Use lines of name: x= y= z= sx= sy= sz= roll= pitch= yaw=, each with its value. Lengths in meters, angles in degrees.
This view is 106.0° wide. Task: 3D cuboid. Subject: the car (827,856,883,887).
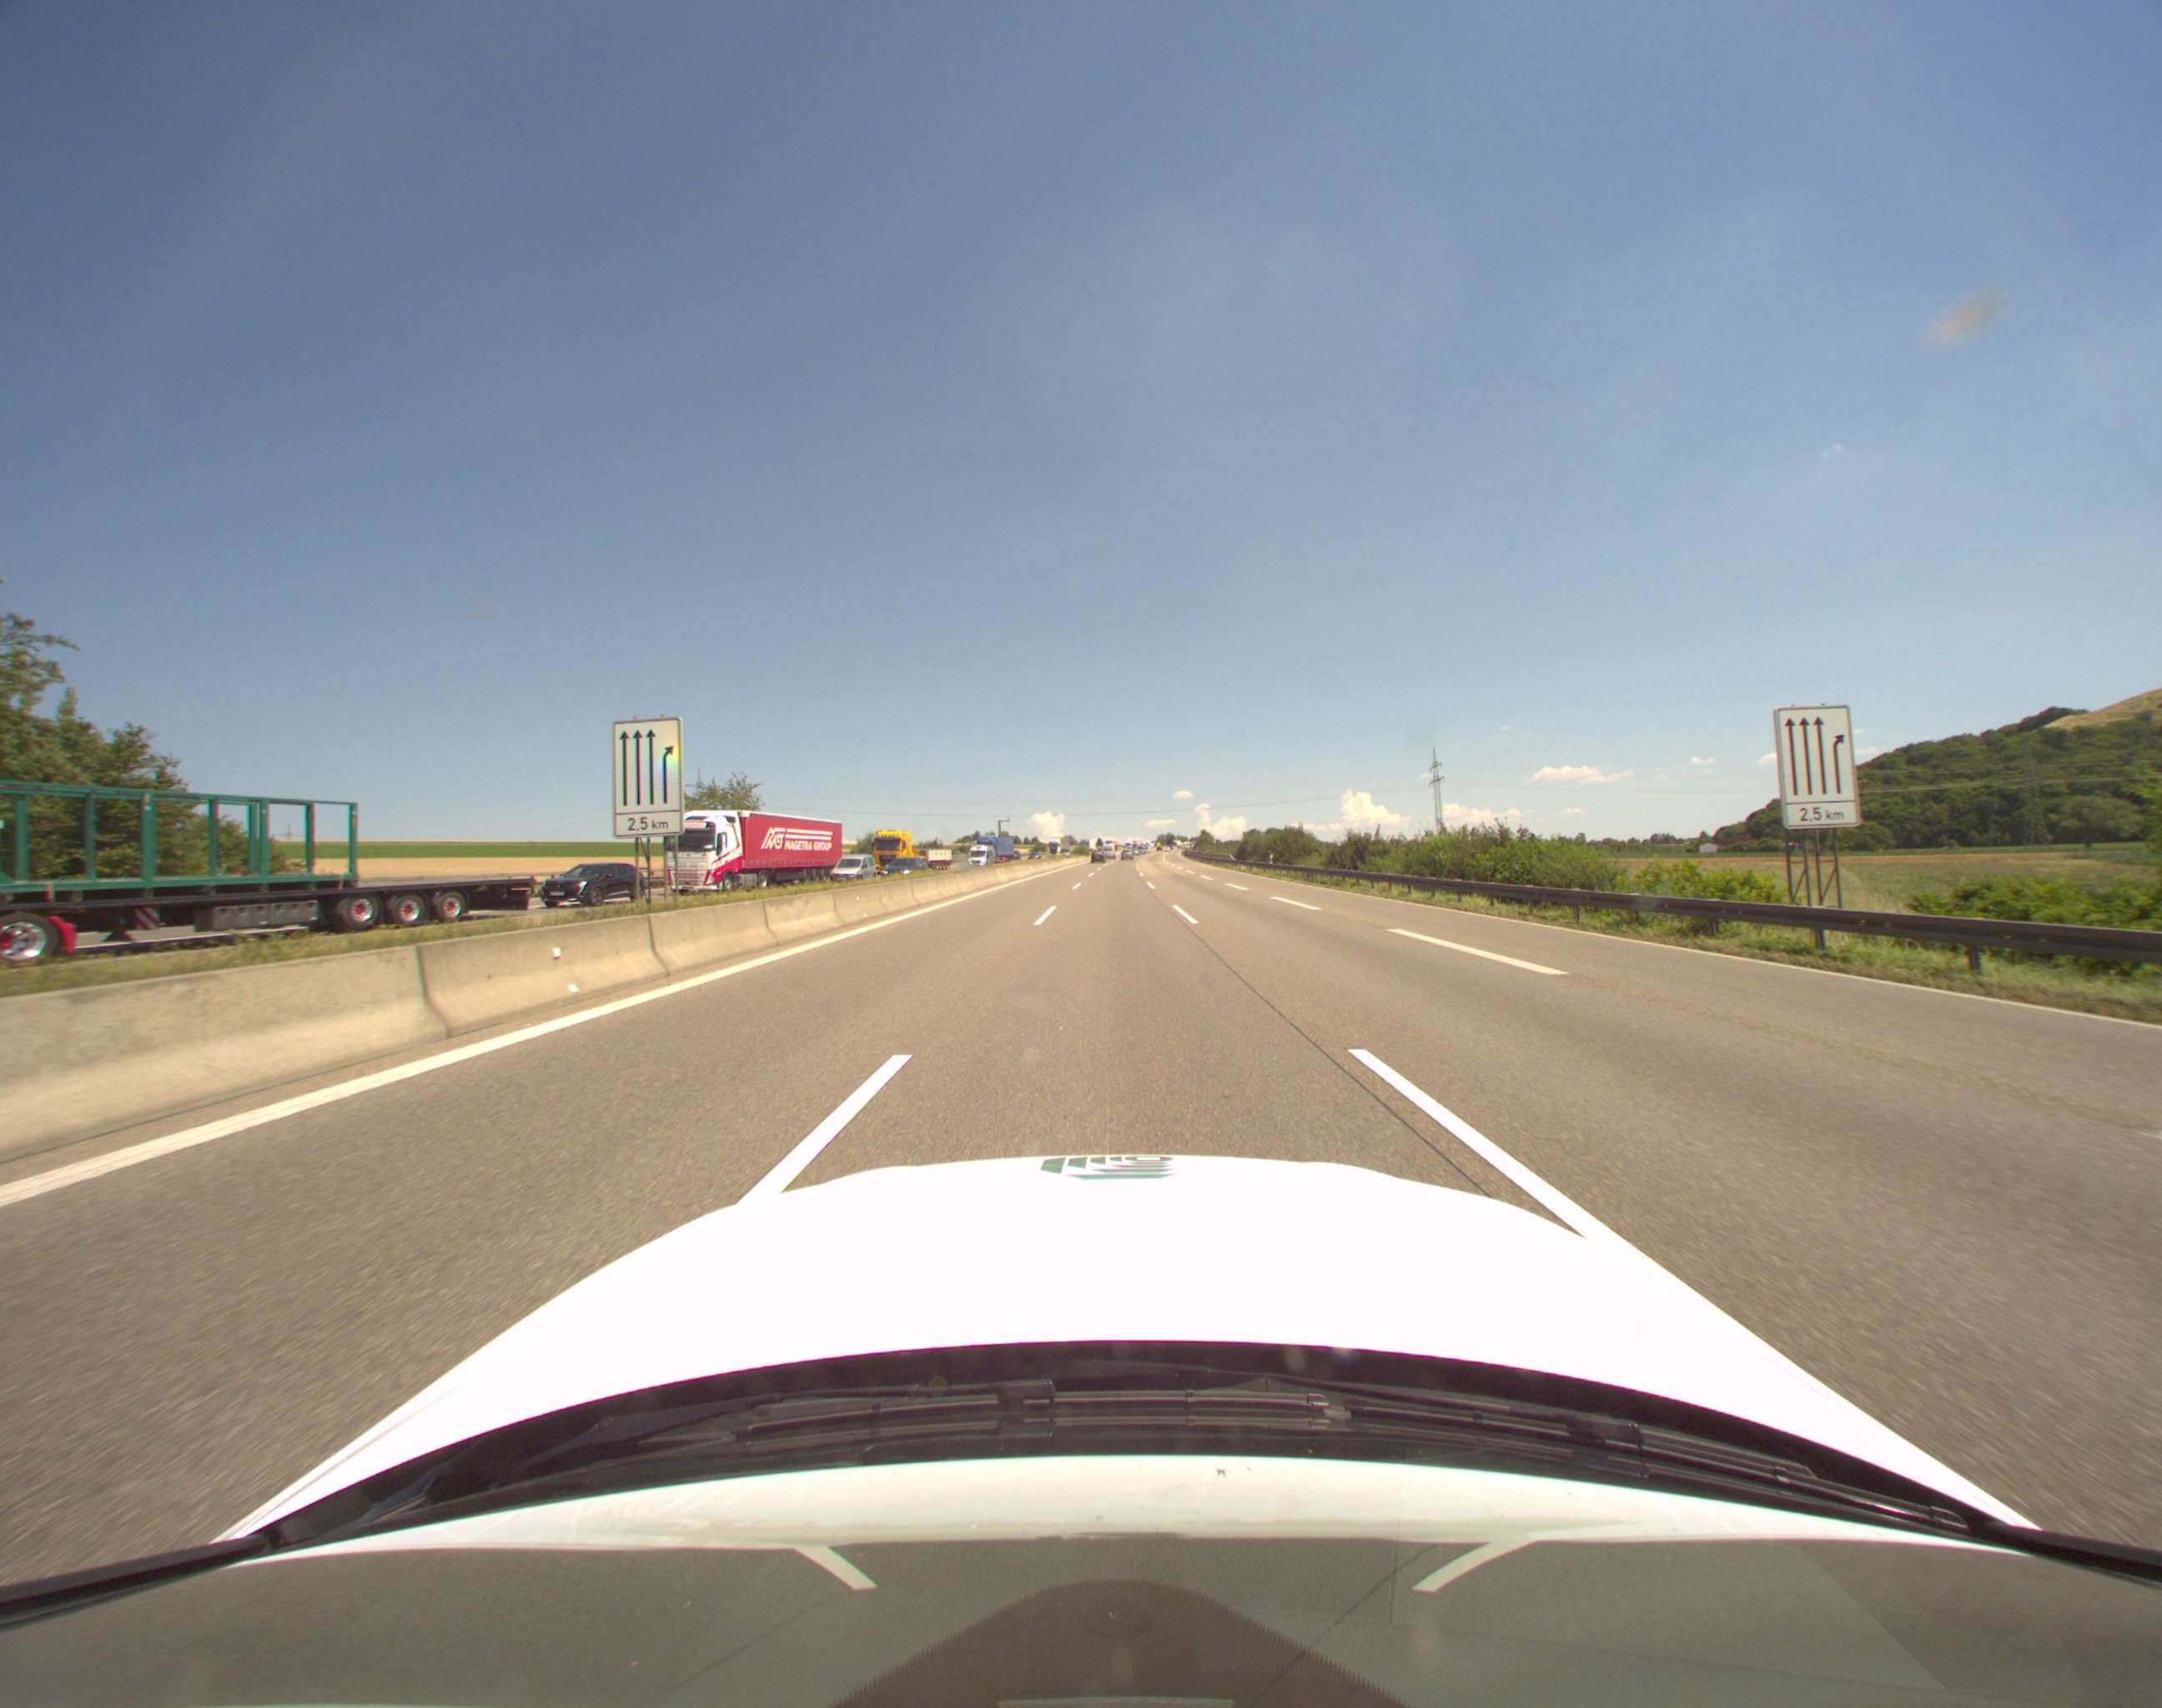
car: x=-13.496 y=0.987 z=48.884 sx=1.906 sy=1.772 sz=4.763 roll=0 pitch=0 yaw=1

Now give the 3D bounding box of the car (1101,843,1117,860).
car: x=4.683 y=-0.405 z=134.698 sx=2.168 sy=2.625 sz=4.680 roll=0 pitch=-2 yaw=7

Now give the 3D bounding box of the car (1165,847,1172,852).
car: x=27.333 y=-1.387 z=254.015 sx=1.892 sy=1.442 sz=4.008 roll=-1 pitch=0 yaw=7

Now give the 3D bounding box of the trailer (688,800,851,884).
trailer: x=-17.281 y=-0.564 z=47.070 sx=3.072 sy=4.100 sz=14.394 roll=0 pitch=0 yaw=4

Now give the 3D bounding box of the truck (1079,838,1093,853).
truck: x=1.576 y=-2.444 z=240.136 sx=3.209 sy=4.206 sz=7.141 roll=-1 pitch=0 yaw=7

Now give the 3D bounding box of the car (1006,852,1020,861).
car: x=-11.540 y=0.447 z=138.743 sx=1.650 sy=1.385 sz=4.356 roll=0 pitch=0 yaw=5

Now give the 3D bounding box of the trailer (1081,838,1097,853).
trailer: x=2.455 y=-2.585 z=246.854 sx=3.224 sy=4.387 sz=14.057 roll=0 pitch=0 yaw=7

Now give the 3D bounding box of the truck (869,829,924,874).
truck: x=-16.216 y=-0.237 z=72.231 sx=2.738 sy=3.837 sz=7.107 roll=0 pitch=0 yaw=4

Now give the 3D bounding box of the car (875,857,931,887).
car: x=-10.353 y=1.005 z=47.870 sx=2.041 sy=1.696 sz=5.256 roll=0 pitch=0 yaw=1

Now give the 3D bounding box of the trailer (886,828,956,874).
trailer: x=-15.522 y=-0.343 z=80.324 sx=2.939 sy=4.100 sz=14.399 roll=0 pitch=0 yaw=5

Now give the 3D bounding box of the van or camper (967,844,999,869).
van or camper: x=-10.636 y=0.284 z=88.647 sx=2.301 sy=2.586 sz=7.148 roll=0 pitch=0 yaw=3

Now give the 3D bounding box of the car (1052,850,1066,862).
car: x=-3.836 y=0.320 z=143.560 sx=1.905 sy=1.970 sz=5.451 roll=0 pitch=0 yaw=3

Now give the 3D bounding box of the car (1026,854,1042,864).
car: x=-7.493 y=0.847 z=130.716 sx=1.905 sy=1.541 sz=5.747 roll=0 pitch=0 yaw=3

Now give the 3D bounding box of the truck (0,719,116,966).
truck: x=-18.480 y=-0.180 z=11.222 sx=2.890 sy=3.876 sz=6.180 roll=0 pitch=0 yaw=1

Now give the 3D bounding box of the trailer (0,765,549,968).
trailer: x=-18.303 y=0.217 z=19.190 sx=2.847 sy=3.206 sz=12.787 roll=0 pitch=0 yaw=2

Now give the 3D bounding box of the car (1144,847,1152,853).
car: x=18.200 y=-1.059 z=220.746 sx=1.984 sy=1.552 sz=4.007 roll=1 pitch=1 yaw=5

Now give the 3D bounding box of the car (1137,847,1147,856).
car: x=14.214 y=-0.671 z=189.915 sx=1.985 sy=1.904 sz=4.002 roll=-1 pitch=-2 yaw=2

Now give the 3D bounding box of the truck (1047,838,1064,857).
truck: x=-5.793 y=-1.551 z=187.165 sx=3.116 sy=4.328 sz=6.159 roll=0 pitch=0 yaw=7

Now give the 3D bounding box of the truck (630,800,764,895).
truck: x=-17.746 y=-0.293 z=38.204 sx=3.023 sy=4.082 sz=6.319 roll=0 pitch=0 yaw=3

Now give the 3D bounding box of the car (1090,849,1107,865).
car: x=2.342 y=0.362 z=106.263 sx=1.838 sy=1.861 sz=4.213 roll=-1 pitch=1 yaw=6

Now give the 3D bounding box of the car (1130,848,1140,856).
car: x=11.383 y=-0.353 z=171.931 sx=1.985 sy=1.585 sz=4.002 roll=-1 pitch=-1 yaw=3

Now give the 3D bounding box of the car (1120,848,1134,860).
car: x=7.095 y=0.040 z=125.276 sx=1.984 sy=1.750 sz=4.004 roll=0 pitch=-2 yaw=5

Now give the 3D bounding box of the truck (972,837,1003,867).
truck: x=-13.084 y=-0.234 z=114.962 sx=3.062 sy=4.090 sz=6.944 roll=0 pitch=0 yaw=4

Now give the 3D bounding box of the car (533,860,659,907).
car: x=-17.882 y=1.102 z=30.343 sx=1.831 sy=1.631 sz=4.604 roll=0 pitch=-2 yaw=1
